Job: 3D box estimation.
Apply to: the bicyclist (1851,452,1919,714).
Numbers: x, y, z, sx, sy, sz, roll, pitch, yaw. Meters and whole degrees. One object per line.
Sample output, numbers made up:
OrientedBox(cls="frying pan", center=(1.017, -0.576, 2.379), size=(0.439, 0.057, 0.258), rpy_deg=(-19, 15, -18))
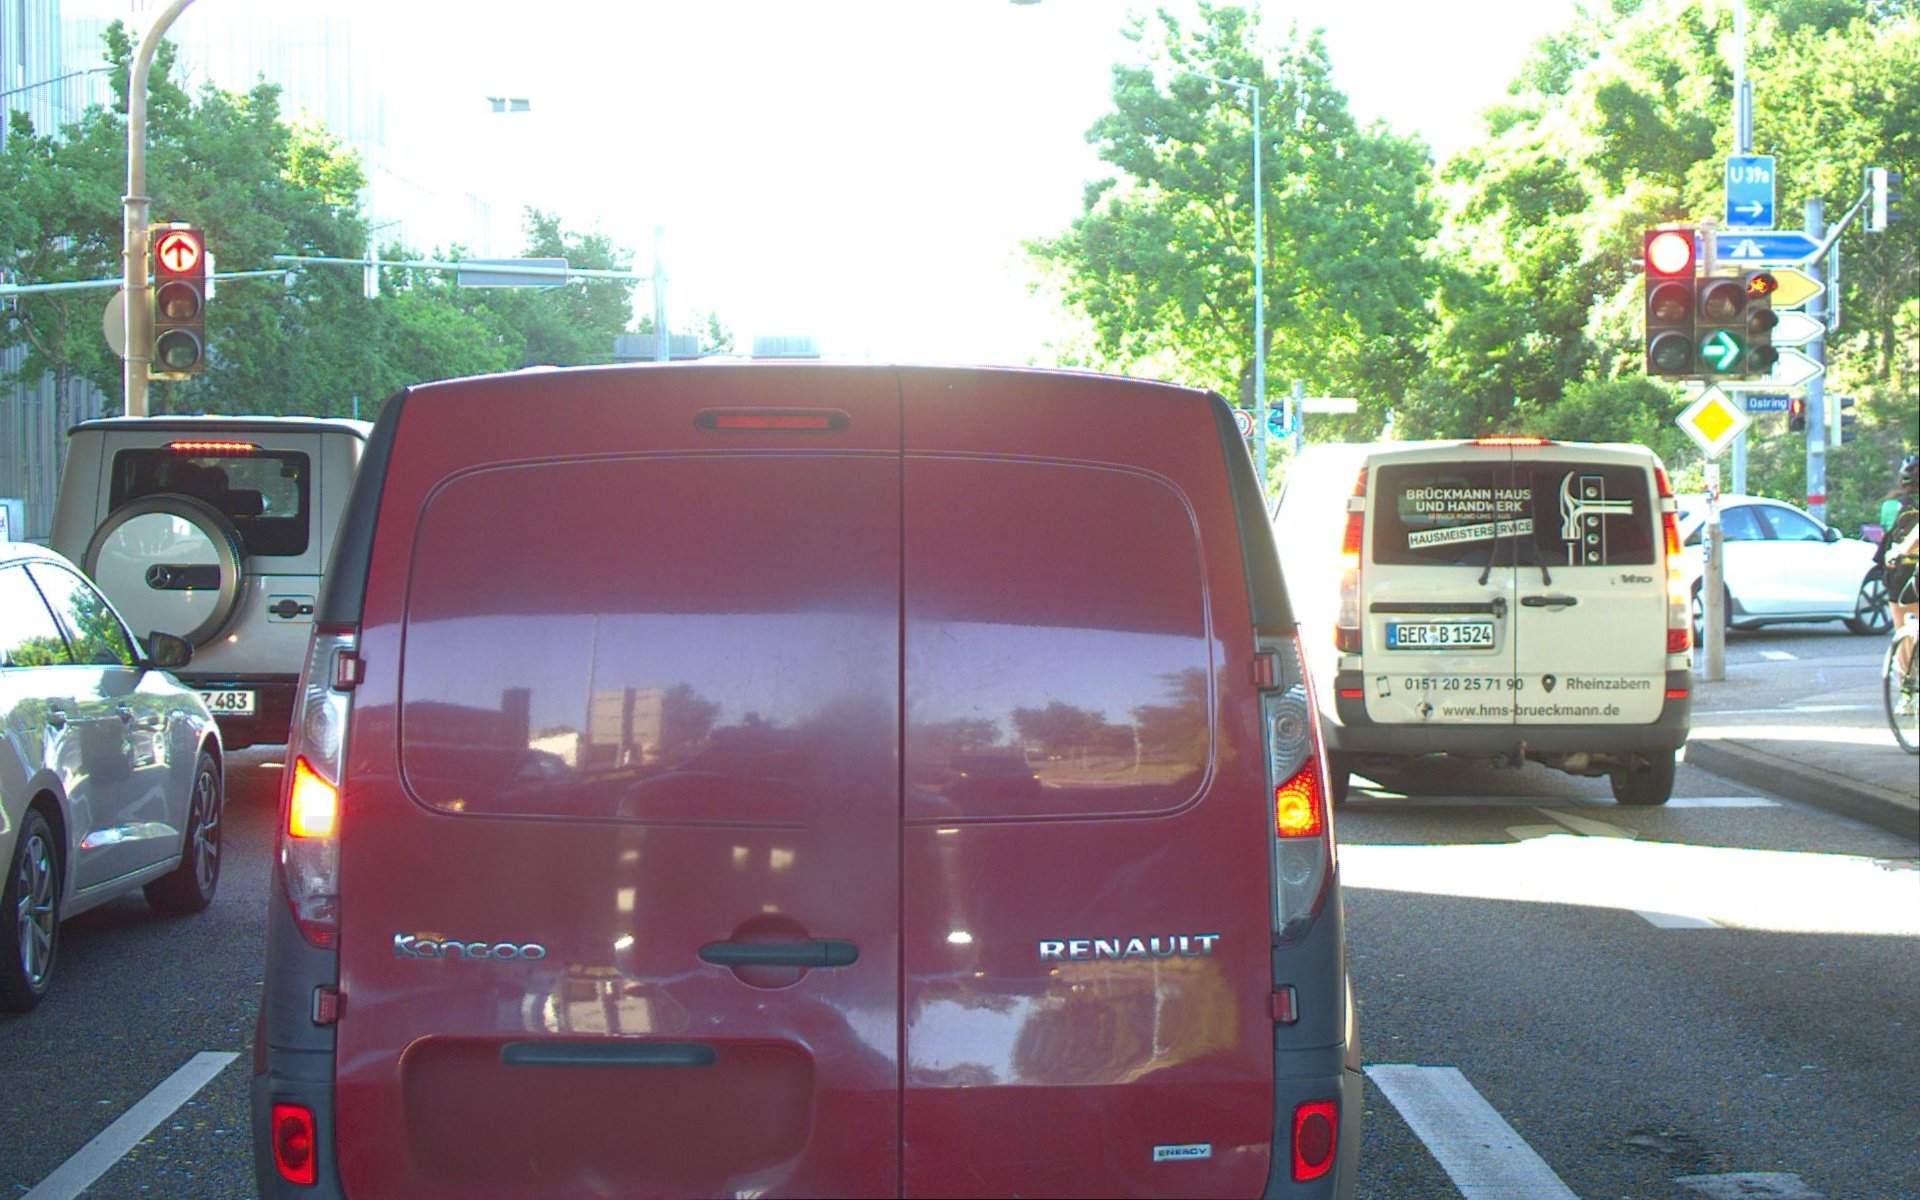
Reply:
OrientedBox(cls="bicyclist", center=(6.011, -0.104, 21.689), size=(0.677, 1.623, 0.644), rpy_deg=(1, 0, 10))

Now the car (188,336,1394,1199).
OrientedBox(cls="car", center=(-0.269, 0.471, 6.948), size=(1.719, 1.758, 4.000), rpy_deg=(1, 1, -1))

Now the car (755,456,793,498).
OrientedBox(cls="car", center=(-9.389, -6.206, 173.561), size=(1.748, 2.007, 3.845), rpy_deg=(1, 1, -1))

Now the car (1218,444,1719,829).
OrientedBox(cls="car", center=(2.626, 0.108, 18.956), size=(1.897, 1.830, 4.836), rpy_deg=(1, 2, -2))

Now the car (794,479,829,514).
OrientedBox(cls="car", center=(-9.065, -6.298, 209.703), size=(1.993, 2.007, 4.000), rpy_deg=(1, 1, -1))

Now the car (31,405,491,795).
OrientedBox(cls="car", center=(-3.706, -0.038, 18.856), size=(1.813, 1.897, 3.814), rpy_deg=(1, 1, -1))

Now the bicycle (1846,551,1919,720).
OrientedBox(cls="bicycle", center=(5.986, 0.215, 21.606), size=(0.677, 1.020, 1.528), rpy_deg=(1, 1, 10))

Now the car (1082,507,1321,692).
OrientedBox(cls="car", center=(1.988, -0.043, 29.220), size=(1.745, 1.451, 3.717), rpy_deg=(1, 1, 0))

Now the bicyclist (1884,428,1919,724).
OrientedBox(cls="bicyclist", center=(5.281, -0.125, 17.976), size=(0.653, 1.528, 0.847), rpy_deg=(0, 1, 0))

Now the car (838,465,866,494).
OrientedBox(cls="car", center=(-7.940, -8.870, 253.144), size=(1.929, 2.007, 3.914), rpy_deg=(1, 1, -1))

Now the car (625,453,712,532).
OrientedBox(cls="car", center=(-7.787, -2.870, 92.223), size=(1.993, 2.007, 4.000), rpy_deg=(1, 1, -1))

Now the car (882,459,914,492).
OrientedBox(cls="car", center=(-3.943, -7.962, 220.606), size=(1.993, 2.007, 4.000), rpy_deg=(1, 1, -1))

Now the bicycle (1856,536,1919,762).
OrientedBox(cls="bicycle", center=(5.278, 0.249, 18.093), size=(0.651, 1.163, 1.778), rpy_deg=(0, 1, 0))

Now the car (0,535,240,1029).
OrientedBox(cls="car", center=(-3.627, 0.488, 11.489), size=(1.692, 1.405, 3.814), rpy_deg=(1, 1, -1))
